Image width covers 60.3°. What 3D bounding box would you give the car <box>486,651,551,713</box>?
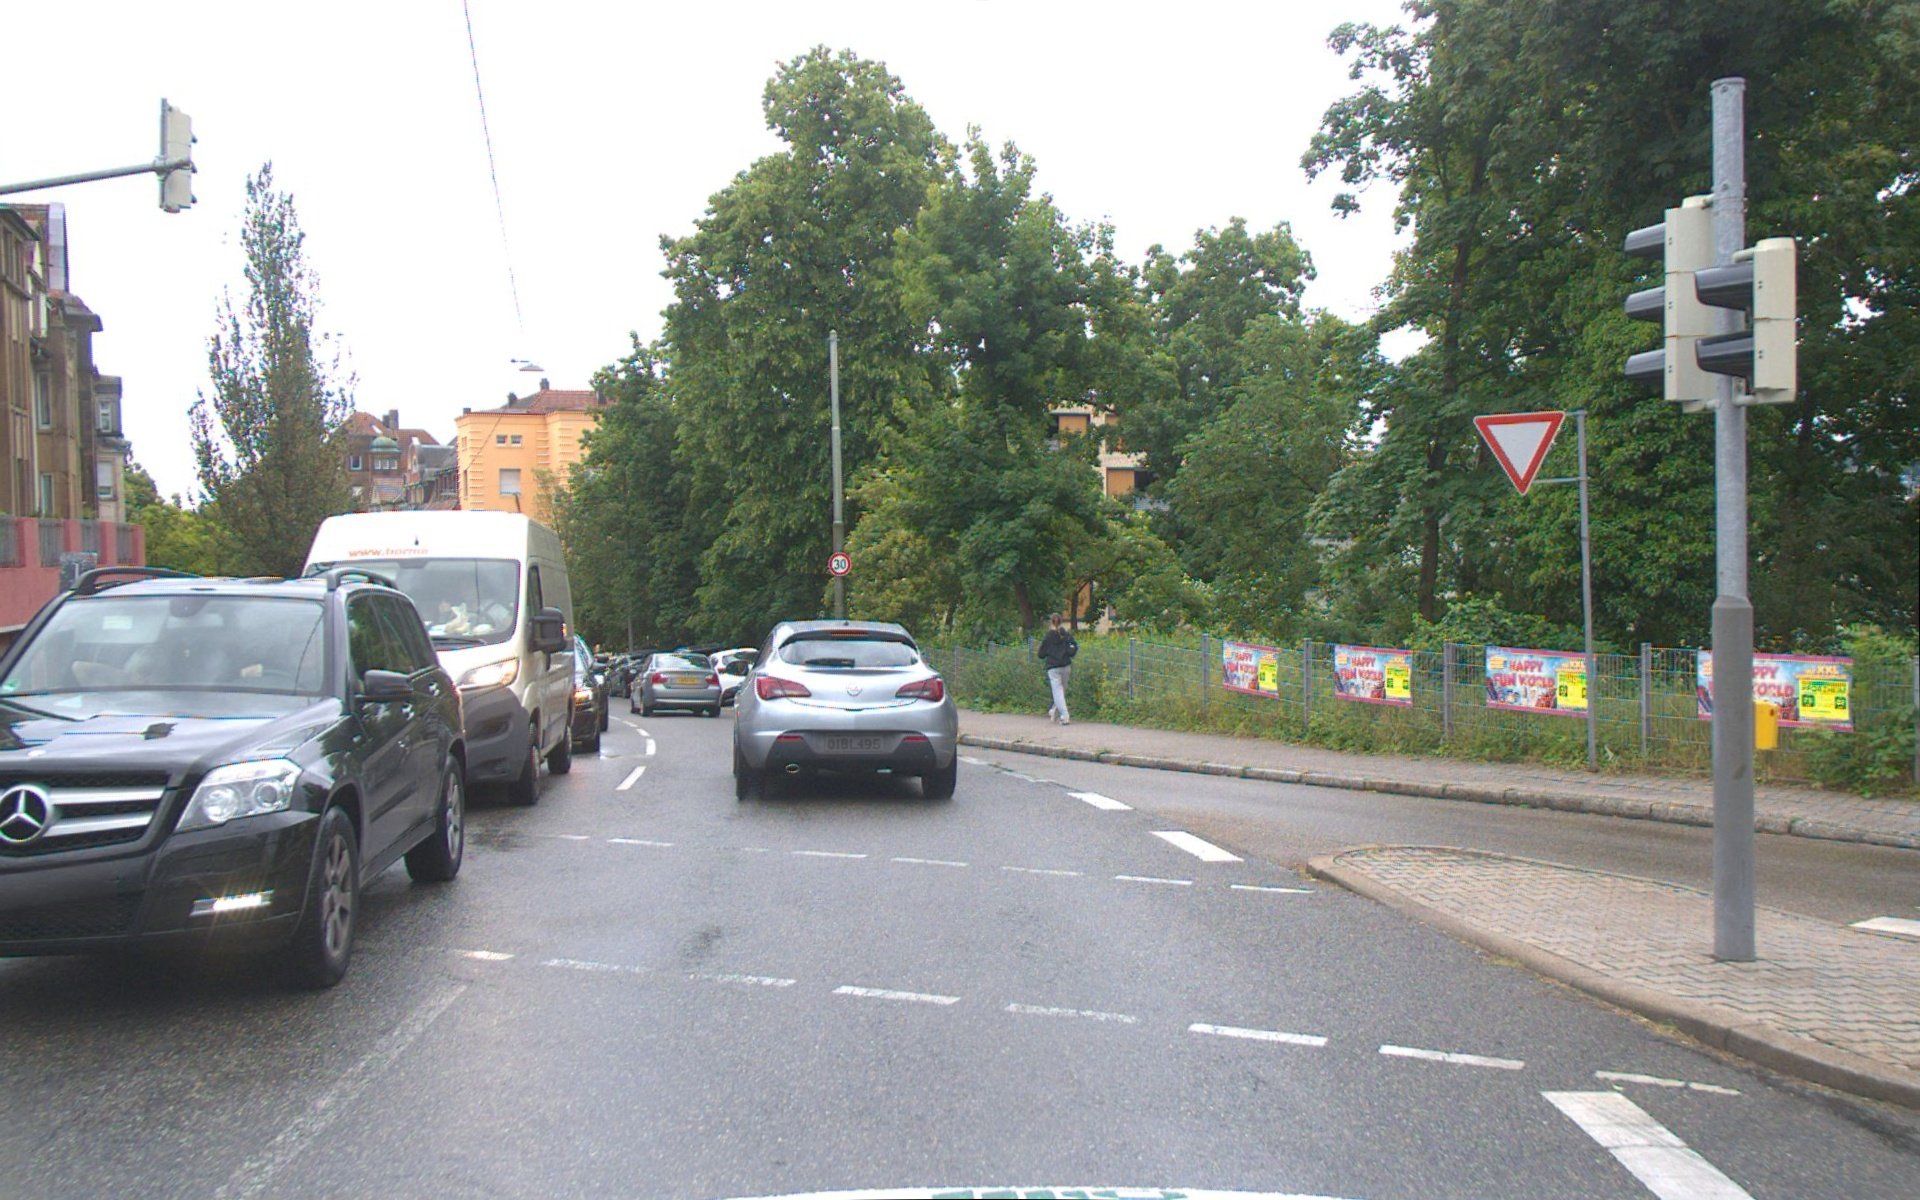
[{"bbox_3d":[-12.283,2.248,45.894,1.628,1.596,3.981,-1,-2,-17],"label":"car"}]

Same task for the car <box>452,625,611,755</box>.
[{"bbox_3d":[-5.536,1.123,21.551,1.784,1.455,3.985,-2,-2,-14],"label":"car"}]

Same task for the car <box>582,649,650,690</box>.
[{"bbox_3d":[-14.033,2.847,67.318,1.949,1.477,4.086,-4,-1,-22],"label":"car"}]

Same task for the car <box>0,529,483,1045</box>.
[{"bbox_3d":[-3.402,0.629,7.540,1.787,1.681,4.337,0,-1,-9],"label":"car"}]

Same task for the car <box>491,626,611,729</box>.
[{"bbox_3d":[-7.195,1.315,28.823,1.845,1.602,4.565,-1,-2,-16],"label":"car"}]

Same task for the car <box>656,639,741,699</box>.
[{"bbox_3d":[-8.378,2.172,52.605,1.794,1.712,4.776,-4,-1,-19],"label":"car"}]

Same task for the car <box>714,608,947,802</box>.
[{"bbox_3d":[-1.216,0.825,14.717,1.780,1.455,3.994,-1,-1,-7],"label":"car"}]

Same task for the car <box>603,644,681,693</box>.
[{"bbox_3d":[-11.939,2.588,61.906,1.949,1.637,4.454,-4,-1,-22],"label":"car"}]

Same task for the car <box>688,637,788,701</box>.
[{"bbox_3d":[-6.337,1.991,46.929,1.791,1.520,3.973,-7,-1,-22],"label":"car"}]

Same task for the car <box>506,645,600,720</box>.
[{"bbox_3d":[-8.925,1.784,36.065,1.746,1.524,4.241,1,-3,-17],"label":"car"}]

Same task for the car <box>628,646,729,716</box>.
[{"bbox_3d":[-6.406,1.836,37.332,1.748,1.455,3.766,-1,-3,-17],"label":"car"}]

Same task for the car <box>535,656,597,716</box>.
[{"bbox_3d":[-10.293,2.209,43.094,1.361,1.436,3.439,0,-1,-17],"label":"car"}]

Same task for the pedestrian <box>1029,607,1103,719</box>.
[{"bbox_3d":[1.612,0.955,25.219,0.753,1.633,0.961,-4,-1,-16],"label":"pedestrian"}]

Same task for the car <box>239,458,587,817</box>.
[{"bbox_3d":[-4.637,0.339,14.941,2.078,2.590,5.527,-1,-2,-9],"label":"car"}]
